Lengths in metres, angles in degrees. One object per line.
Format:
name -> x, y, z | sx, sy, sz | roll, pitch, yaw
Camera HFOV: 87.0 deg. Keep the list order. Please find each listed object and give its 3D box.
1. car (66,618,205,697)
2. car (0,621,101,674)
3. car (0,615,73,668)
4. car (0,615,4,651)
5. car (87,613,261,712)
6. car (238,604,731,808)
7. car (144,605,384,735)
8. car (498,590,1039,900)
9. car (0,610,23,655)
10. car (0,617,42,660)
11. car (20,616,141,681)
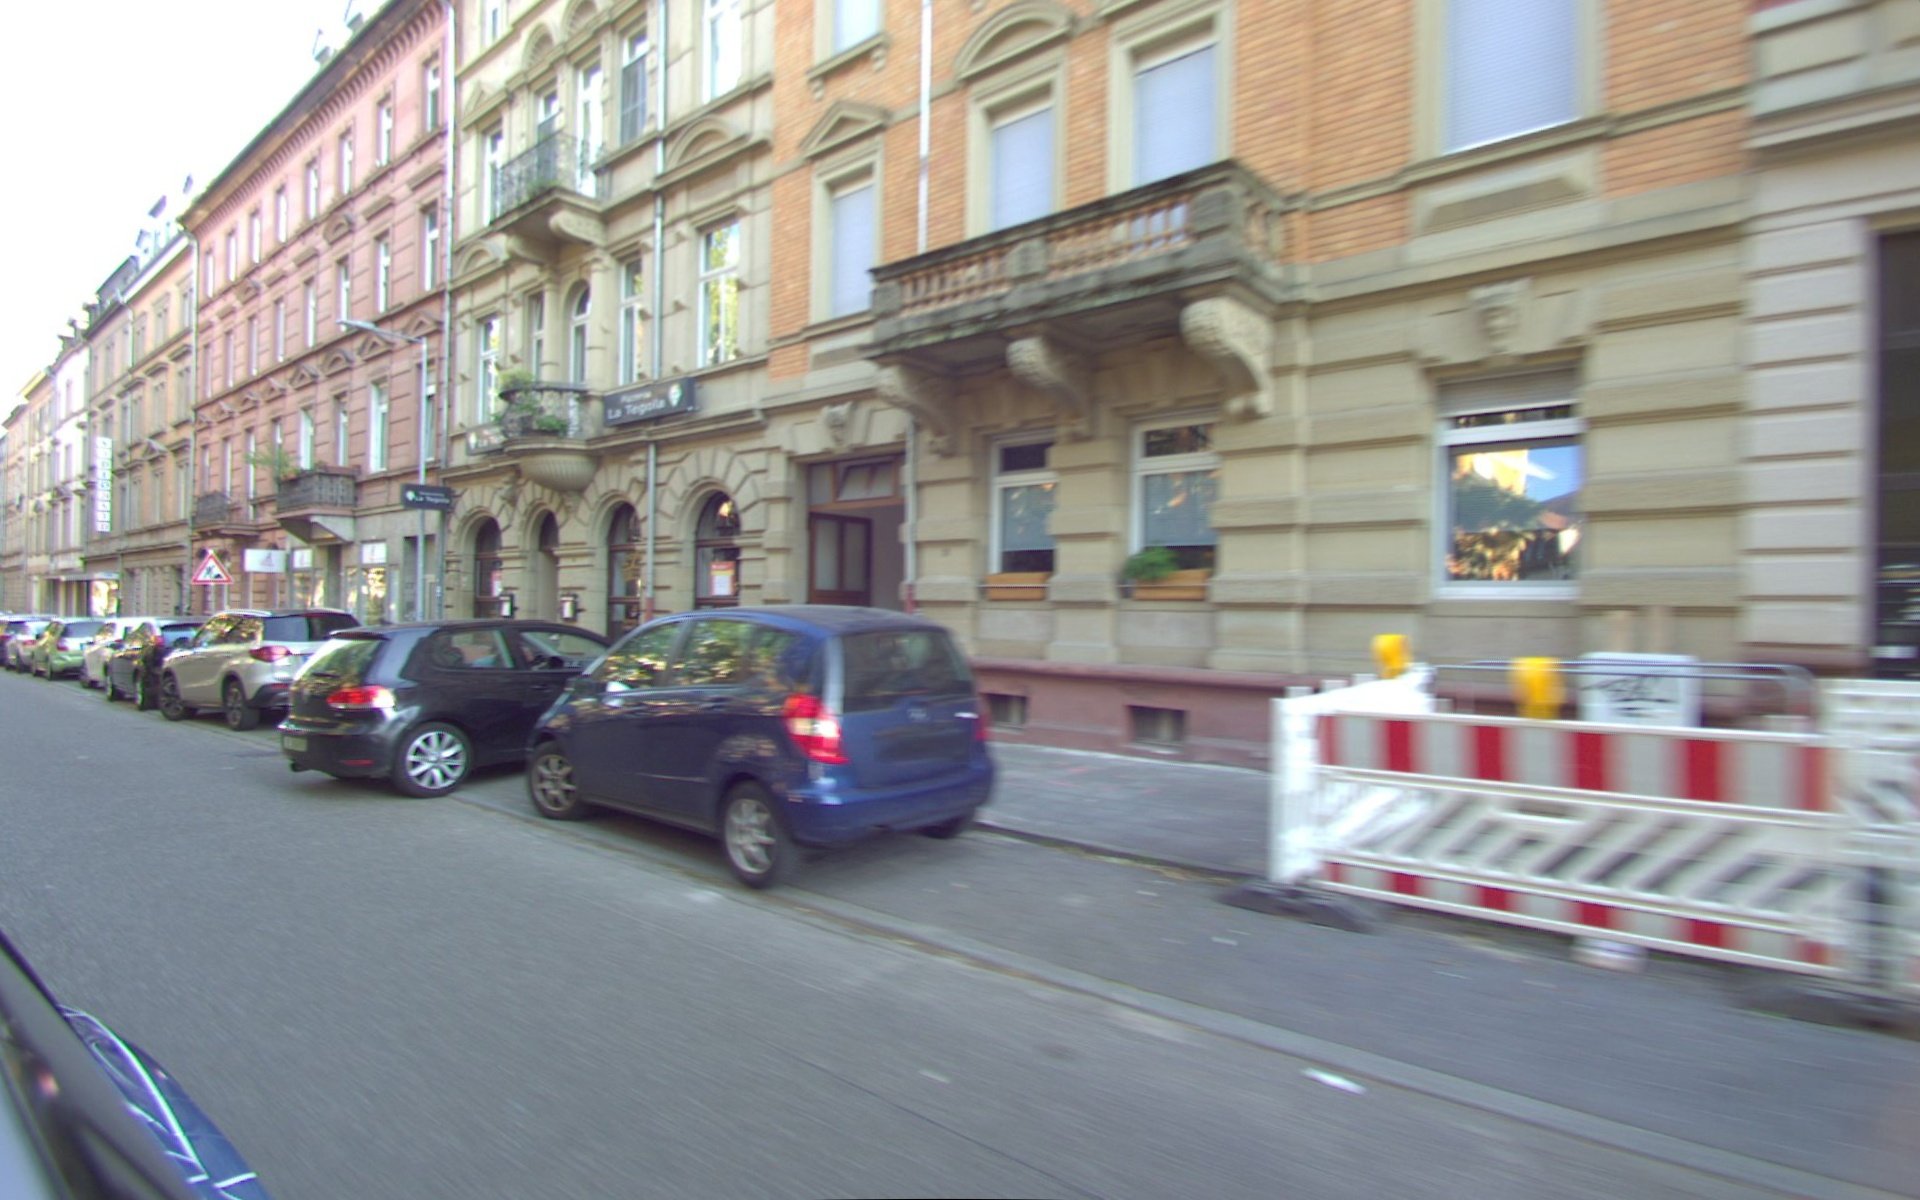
car -> -17.248, 1.128, 21.114 | 3.998, 1.484, 1.565 | -1, -2, 41
car -> -25.013, 1.245, 27.715 | 4.099, 1.333, 1.687 | -1, -2, 41
car -> -28.680, 1.210, 30.926 | 4.421, 1.488, 1.802 | -1, 0, 41
car -> -41.863, 1.370, 42.717 | 4.487, 1.483, 1.842 | -1, -2, 42
car -> -13.794, 1.001, 17.682 | 3.998, 1.484, 1.631 | -1, 1, 41
car -> -4.348, 0.863, 9.833 | 1.822, 1.541, 3.952 | 0, -2, 35
car -> -10.101, 0.911, 14.592 | 4.042, 1.586, 1.632 | -1, 1, 37
car -> -1.515, 0.776, 7.120 | 3.893, 1.579, 1.723 | -1, -2, 42
car -> -36.919, 1.214, 38.237 | 4.311, 1.612, 1.802 | -1, 0, 41
car -> -33.558, 1.311, 35.287 | 4.311, 1.436, 1.802 | -1, 0, 41
car -> -21.473, 1.135, 24.661 | 3.957, 1.450, 1.687 | -1, -2, 41
